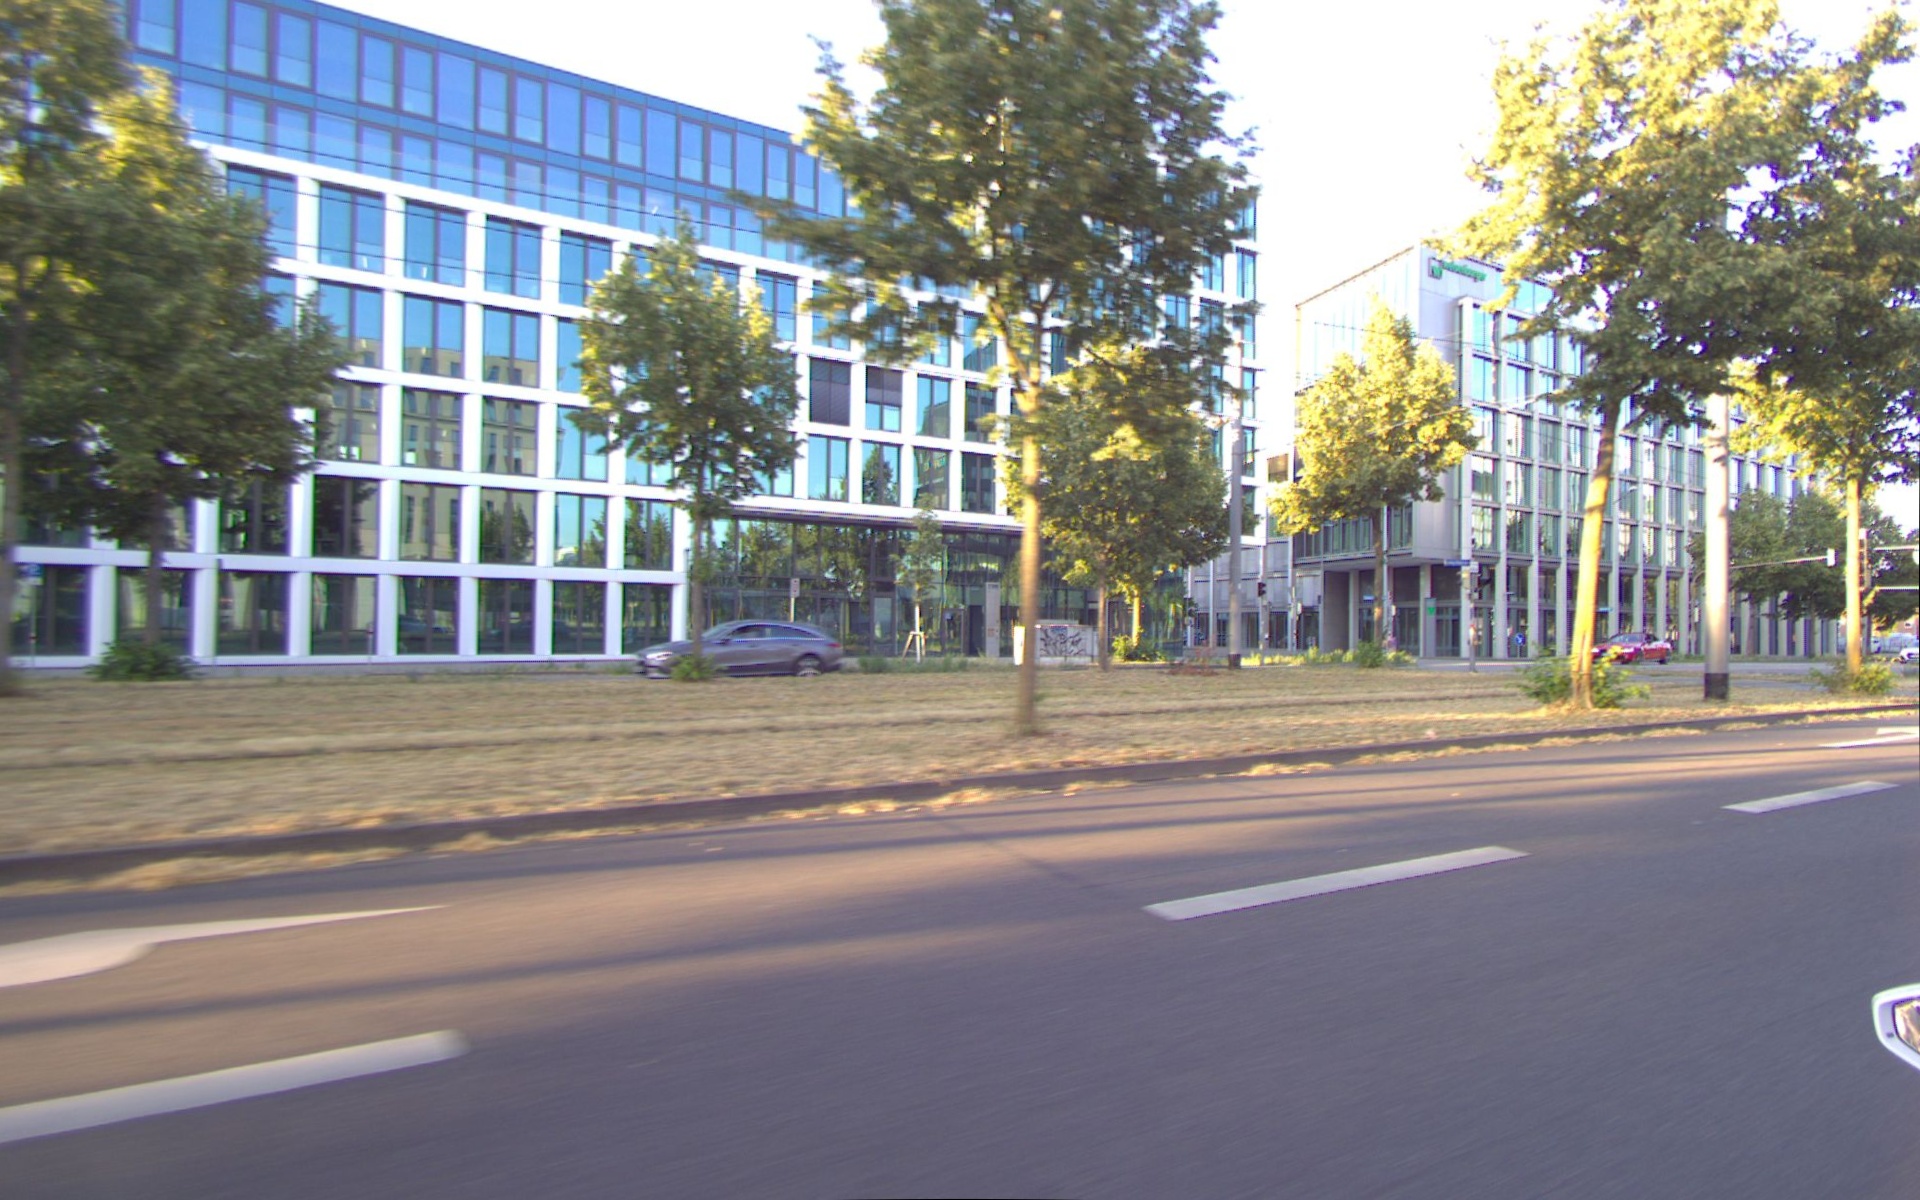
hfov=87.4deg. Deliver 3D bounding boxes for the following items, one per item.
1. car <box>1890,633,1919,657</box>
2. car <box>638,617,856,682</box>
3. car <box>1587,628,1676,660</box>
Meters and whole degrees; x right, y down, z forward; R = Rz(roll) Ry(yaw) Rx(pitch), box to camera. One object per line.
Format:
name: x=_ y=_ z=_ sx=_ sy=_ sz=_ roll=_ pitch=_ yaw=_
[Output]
car: x=55.571 y=2.614 z=58.072 sx=3.631 sy=1.350 sz=1.777 roll=1 pitch=-1 yaw=-32
car: x=-4.753 y=1.071 z=22.642 sx=4.533 sy=1.350 sz=1.648 roll=1 pitch=-1 yaw=-32
car: x=30.193 y=1.936 z=45.136 sx=4.477 sy=1.350 sz=1.648 roll=1 pitch=-1 yaw=-32
